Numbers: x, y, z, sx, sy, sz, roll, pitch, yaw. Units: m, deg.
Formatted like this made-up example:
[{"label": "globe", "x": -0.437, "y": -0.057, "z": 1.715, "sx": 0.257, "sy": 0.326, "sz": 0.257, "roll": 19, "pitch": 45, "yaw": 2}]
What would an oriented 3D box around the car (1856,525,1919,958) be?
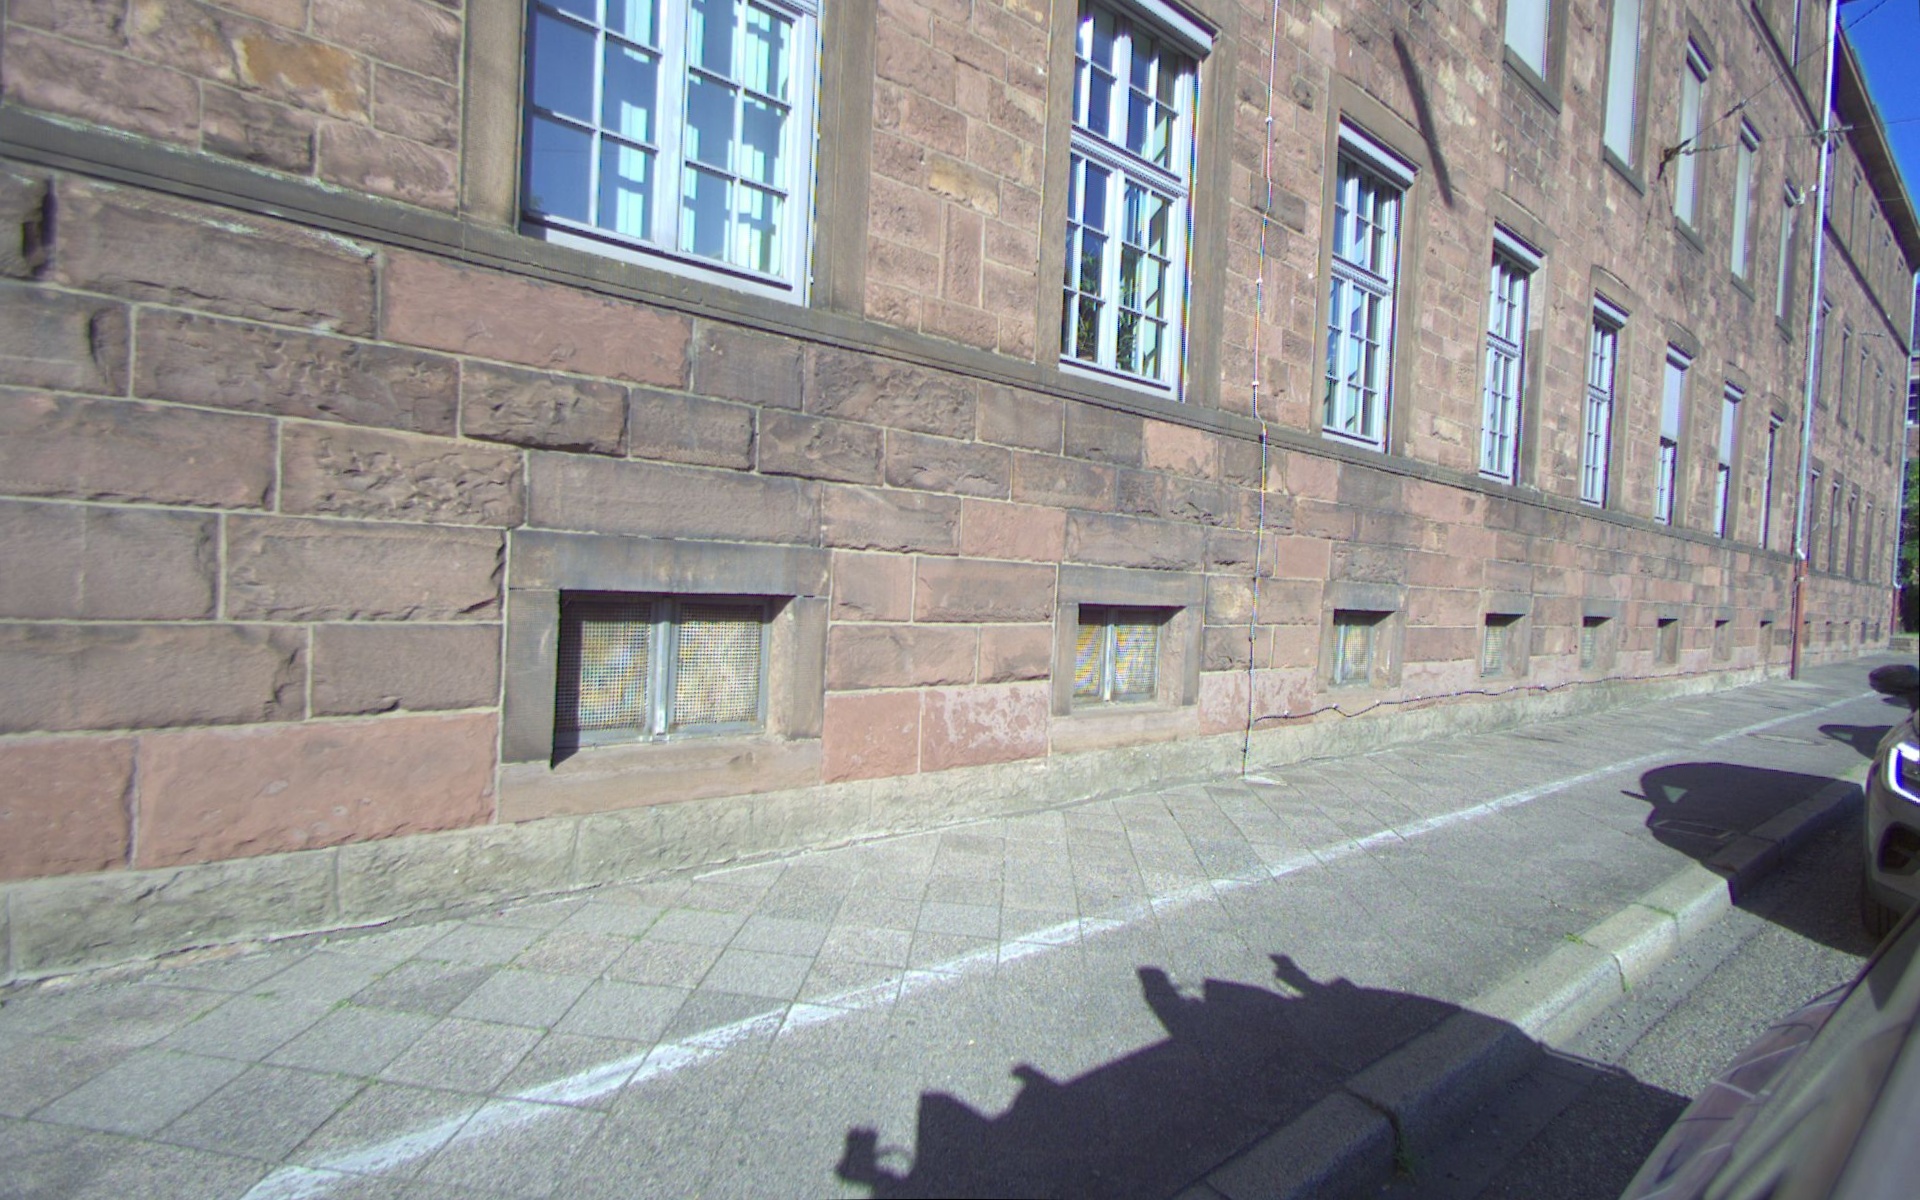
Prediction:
[{"label": "car", "x": 5.462, "y": 0.568, "z": 4.542, "sx": 3.735, "sy": 1.624, "sz": 1.793, "roll": 1, "pitch": 1, "yaw": -43}]
